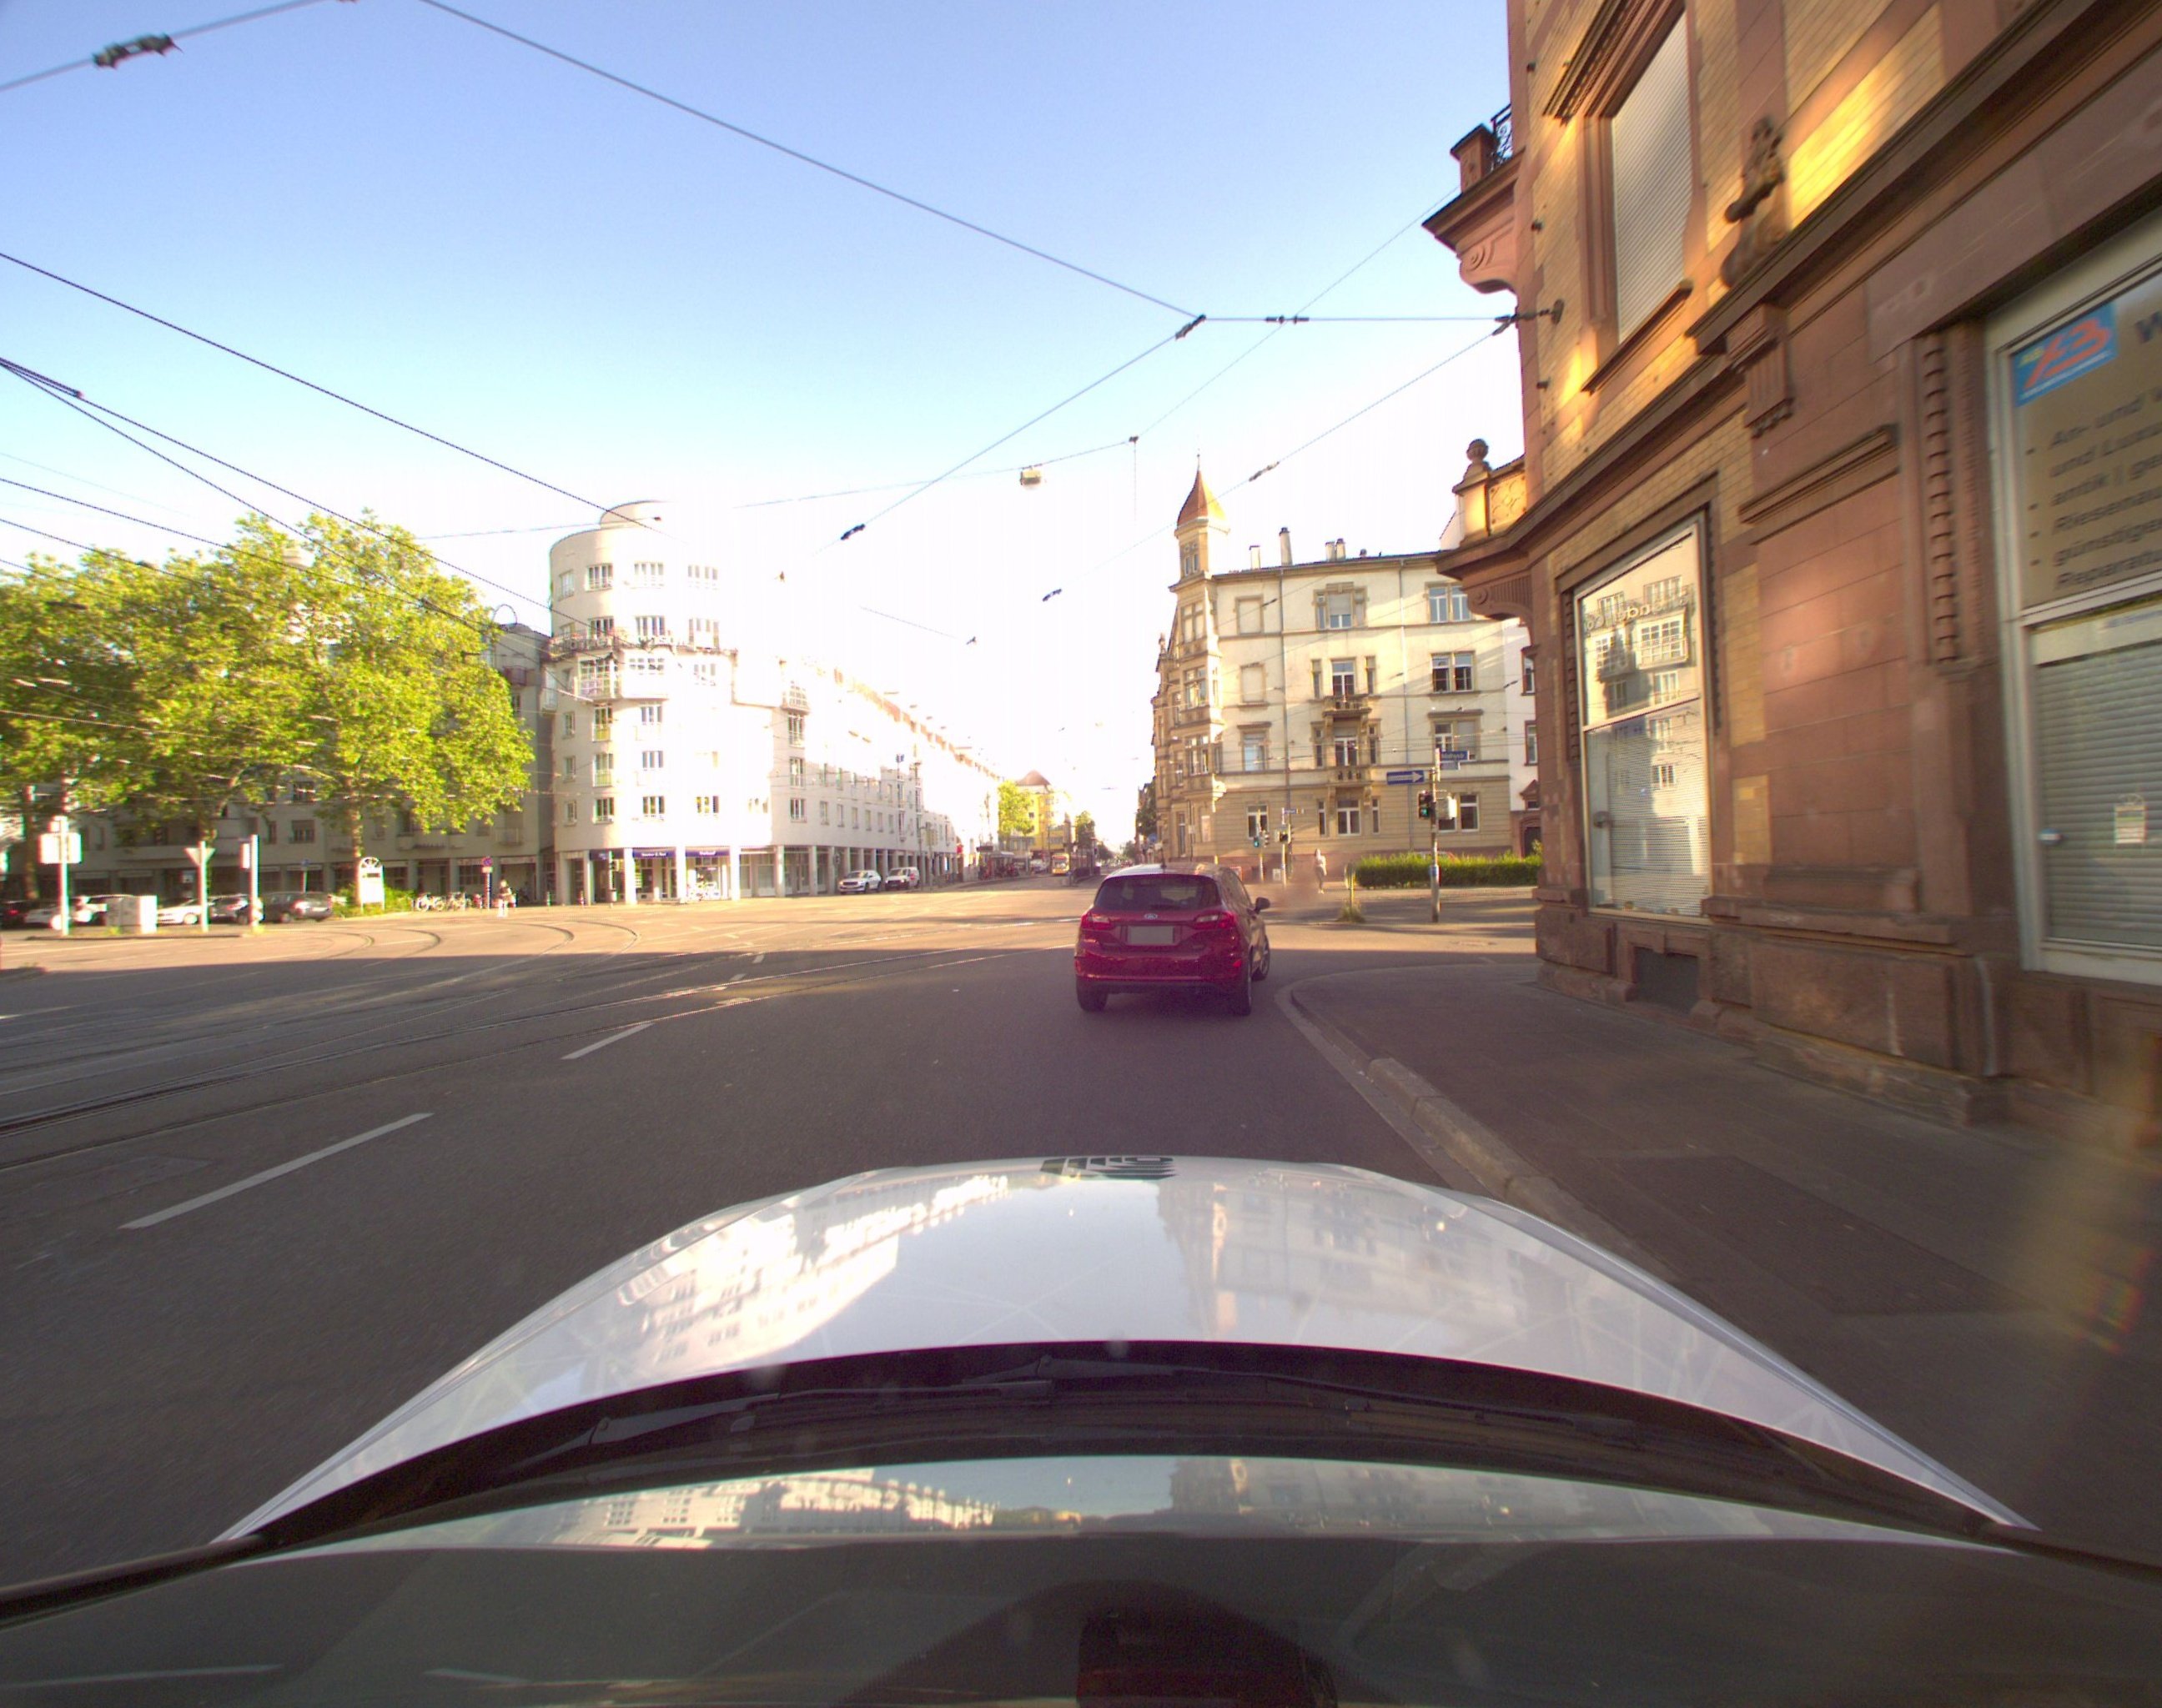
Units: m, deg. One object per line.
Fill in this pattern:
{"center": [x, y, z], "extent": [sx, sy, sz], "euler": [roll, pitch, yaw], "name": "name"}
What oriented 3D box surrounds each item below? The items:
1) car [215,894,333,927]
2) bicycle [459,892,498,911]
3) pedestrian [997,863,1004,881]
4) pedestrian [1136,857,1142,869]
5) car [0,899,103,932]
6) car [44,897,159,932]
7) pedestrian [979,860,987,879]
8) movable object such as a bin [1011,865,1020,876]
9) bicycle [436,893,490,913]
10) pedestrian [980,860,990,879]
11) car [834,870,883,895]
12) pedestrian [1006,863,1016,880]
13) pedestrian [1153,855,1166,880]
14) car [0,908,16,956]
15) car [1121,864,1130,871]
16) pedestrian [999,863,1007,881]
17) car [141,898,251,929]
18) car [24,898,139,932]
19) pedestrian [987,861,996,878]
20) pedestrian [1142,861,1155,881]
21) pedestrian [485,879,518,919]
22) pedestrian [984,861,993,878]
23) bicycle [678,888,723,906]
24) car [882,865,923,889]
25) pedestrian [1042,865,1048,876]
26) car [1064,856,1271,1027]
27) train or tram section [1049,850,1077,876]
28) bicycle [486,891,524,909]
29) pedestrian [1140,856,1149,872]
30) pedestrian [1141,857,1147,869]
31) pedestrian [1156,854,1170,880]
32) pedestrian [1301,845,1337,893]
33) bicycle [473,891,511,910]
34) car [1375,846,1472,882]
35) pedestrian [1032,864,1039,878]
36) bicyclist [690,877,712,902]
{"center": [-41.314, 2.884, 41.748], "extent": [4.417, 1.421, 1.895], "euler": [-3, 0, 7], "name": "car"}
{"center": [-37.936, 3.003, 51.286], "extent": [1.931, 1.107, 0.821], "euler": [-2, -1, 8], "name": "bicycle"}
{"center": [-8.562, 1.876, 86.741], "extent": [0.693, 1.905, 0.672], "euler": [-2, -1, 0], "name": "pedestrian"}
{"center": [8.430, 1.314, 119.097], "extent": [0.711, 1.774, 0.773], "euler": [-5, 0, 0], "name": "pedestrian"}
{"center": [-61.858, 3.633, 48.735], "extent": [1.787, 1.715, 4.001], "euler": [-2, -1, 2], "name": "car"}
{"center": [-56.931, 3.484, 47.445], "extent": [1.787, 1.715, 4.001], "euler": [-2, -1, 2], "name": "car"}
{"center": [-9.206, 1.467, 76.611], "extent": [0.596, 1.692, 0.614], "euler": [-2, -1, 3], "name": "pedestrian"}
{"center": [-7.636, 1.948, 95.056], "extent": [0.934, 1.287, 0.935], "euler": [-2, -1, 1], "name": "movable object such as a bin"}
{"center": [-37.645, 2.974, 49.620], "extent": [2.437, 1.107, 0.934], "euler": [-2, -1, -11], "name": "bicycle"}
{"center": [-9.256, 1.509, 78.760], "extent": [0.756, 1.733, 0.523], "euler": [-3, -2, 45], "name": "pedestrian"}
{"center": [-15.586, 1.961, 57.344], "extent": [1.985, 1.620, 4.513], "euler": [-2, -1, 3], "name": "car"}
{"center": [-7.599, 1.912, 88.830], "extent": [0.928, 1.905, 0.881], "euler": [-2, -1, 0], "name": "pedestrian"}
{"center": [5.988, 1.037, 62.267], "extent": [0.797, 1.824, 0.798], "euler": [-4, 0, 2], "name": "pedestrian"}
{"center": [-34.388, 2.435, 24.277], "extent": [4.404, 1.421, 1.900], "euler": [-3, -1, 19], "name": "car"}
{"center": [10.092, 2.989, 184.715], "extent": [1.985, 1.449, 4.003], "euler": [-1, -1, 3], "name": "car"}
{"center": [-8.365, 1.886, 87.293], "extent": [0.693, 1.905, 0.672], "euler": [-2, -1, 0], "name": "pedestrian"}
{"center": [-49.772, 3.318, 45.927], "extent": [1.787, 1.510, 4.001], "euler": [-2, -1, 2], "name": "car"}
{"center": [-59.053, 3.549, 48.246], "extent": [1.787, 1.715, 4.001], "euler": [-2, -1, 2], "name": "car"}
{"center": [-9.127, 1.586, 82.811], "extent": [0.698, 1.691, 0.667], "euler": [-1, -1, -21], "name": "pedestrian"}
{"center": [4.533, 1.142, 54.928], "extent": [0.791, 1.331, 0.720], "euler": [-3, -2, 3], "name": "pedestrian"}
{"center": [-25.874, 2.005, 36.388], "extent": [0.862, 1.681, 0.699], "euler": [-3, 1, 11], "name": "pedestrian"}
{"center": [-9.183, 1.554, 81.103], "extent": [0.698, 1.691, 0.667], "euler": [-1, -1, -21], "name": "pedestrian"}
{"center": [-22.615, 2.524, 48.457], "extent": [0.833, 0.927, 2.279], "euler": [-3, -1, 41], "name": "bicycle"}
{"center": [-14.936, 1.901, 68.593], "extent": [1.985, 1.837, 5.350], "euler": [-2, -1, 3], "name": "car"}
{"center": [-6.176, 2.878, 139.190], "extent": [0.879, 1.905, 0.930], "euler": [-1, -1, -13], "name": "pedestrian"}
{"center": [1.156, 0.785, 9.079], "extent": [1.679, 1.495, 3.595], "euler": [0, -1, 16], "name": "car"}
{"center": [-2.523, 1.329, 120.231], "extent": [2.873, 3.490, 14.179], "euler": [-3, -1, 3], "name": "train or tram section"}
{"center": [-37.825, 3.010, 53.503], "extent": [1.932, 1.107, 0.820], "euler": [-2, -1, 5], "name": "bicycle"}
{"center": [6.600, 1.074, 84.990], "extent": [0.759, 1.645, 0.833], "euler": [-4, 0, 2], "name": "pedestrian"}
{"center": [9.169, 1.307, 119.103], "extent": [0.711, 1.602, 0.773], "euler": [-5, 0, 0], "name": "pedestrian"}
{"center": [5.553, 0.866, 55.113], "extent": [0.791, 1.721, 0.720], "euler": [-3, -2, 1], "name": "pedestrian"}
{"center": [9.229, 0.568, 31.614], "extent": [1.020, 1.807, 1.083], "euler": [-2, -1, 0], "name": "pedestrian"}
{"center": [-37.795, 3.004, 52.268], "extent": [1.931, 1.107, 0.821], "euler": [-2, -1, 8], "name": "bicycle"}
{"center": [17.335, 0.515, 41.416], "extent": [4.231, 1.632, 1.950], "euler": [-2, -1, 11], "name": "car"}
{"center": [-6.105, 2.300, 109.260], "extent": [0.879, 1.905, 0.930], "euler": [-1, -1, -13], "name": "pedestrian"}
{"center": [-22.616, 2.096, 48.475], "extent": [0.833, 1.467, 0.902], "euler": [-3, -1, 41], "name": "bicyclist"}
